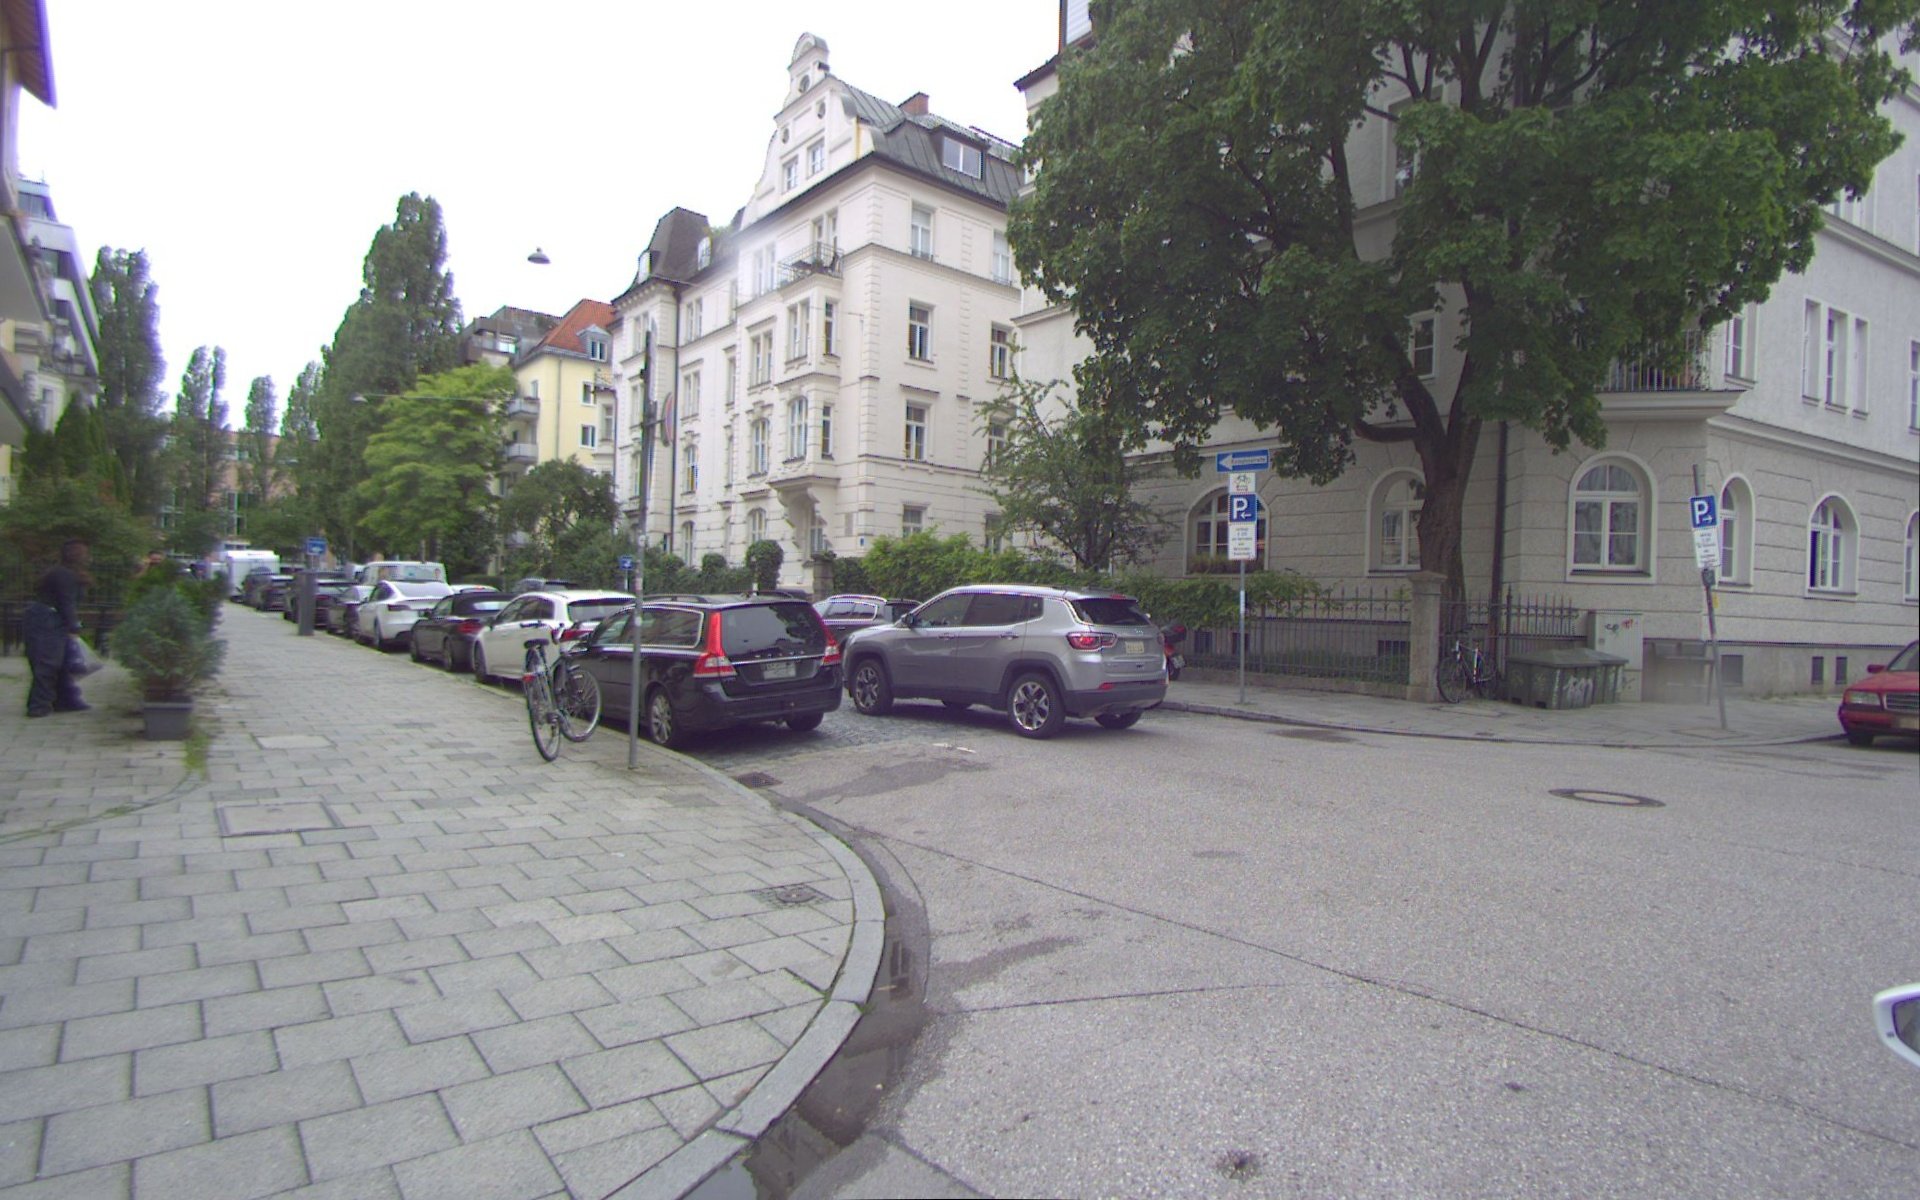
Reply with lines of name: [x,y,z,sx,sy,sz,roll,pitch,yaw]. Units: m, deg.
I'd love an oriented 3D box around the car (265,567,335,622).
car: [-24.506,-0.212,37.234,1.694,1.885,3.953,2,0,-40]

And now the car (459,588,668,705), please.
car: [-6.184,0.588,15.399,1.671,1.528,4.212,-1,2,-41]

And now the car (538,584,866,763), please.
car: [-3.090,0.642,11.425,1.888,1.536,4.296,-3,3,-41]

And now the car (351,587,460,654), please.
car: [-13.233,0.445,23.863,1.606,1.461,3.955,2,0,-39]

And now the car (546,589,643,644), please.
car: [-11.343,0.488,31.049,1.673,1.554,3.826,2,0,-39]

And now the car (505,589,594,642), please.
car: [-14.219,0.511,34.706,1.694,1.669,3.953,2,0,-40]

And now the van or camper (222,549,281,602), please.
van or camper: [-42.701,-1.420,60.474,2.408,2.974,5.309,2,0,-40]

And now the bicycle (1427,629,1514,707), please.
bicycle: [7.896,1.022,15.511,1.811,1.067,0.489,-1,2,-39]

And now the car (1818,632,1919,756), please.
car: [12.821,1.159,12.777,4.180,1.396,1.721,2,0,-32]

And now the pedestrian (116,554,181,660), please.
pedestrian: [-13.382,0.121,16.569,0.727,1.678,0.783,4,-2,-40]

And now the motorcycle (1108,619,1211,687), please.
motorcycle: [3.648,0.944,18.504,0.586,1.127,1.969,1,0,-36]

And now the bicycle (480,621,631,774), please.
bicycle: [-3.550,0.804,8.997,0.597,1.184,1.834,3,0,-2]

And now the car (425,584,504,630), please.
car: [-15.524,0.217,31.414,1.592,1.348,2.919,2,0,-39]

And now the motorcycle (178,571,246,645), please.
motorcycle: [-15.949,0.190,21.380,0.956,1.481,2.855,2,-2,-40]

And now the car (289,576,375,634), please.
car: [-19.381,0.137,30.946,1.694,1.669,3.953,2,0,-40]

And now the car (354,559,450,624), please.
car: [-23.014,-0.354,41.390,4.539,2.508,2.151,1,0,43]

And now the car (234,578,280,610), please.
car: [-38.610,-0.352,55.122,1.694,1.669,3.953,2,0,-40]

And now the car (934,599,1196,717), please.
car: [1.462,0.778,15.245,1.670,1.468,3.956,2,0,-38]

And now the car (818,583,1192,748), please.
car: [0.415,0.651,12.122,4.247,1.629,1.953,1,-1,42]

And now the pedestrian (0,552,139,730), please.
pedestrian: [-8.308,0.382,9.360,0.844,1.571,0.742,4,-1,-34]

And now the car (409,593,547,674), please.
car: [-9.279,0.577,19.200,1.580,1.359,3.771,2,0,-38]

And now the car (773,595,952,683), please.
car: [-1.998,0.691,19.580,1.637,1.493,3.958,2,0,-37]
